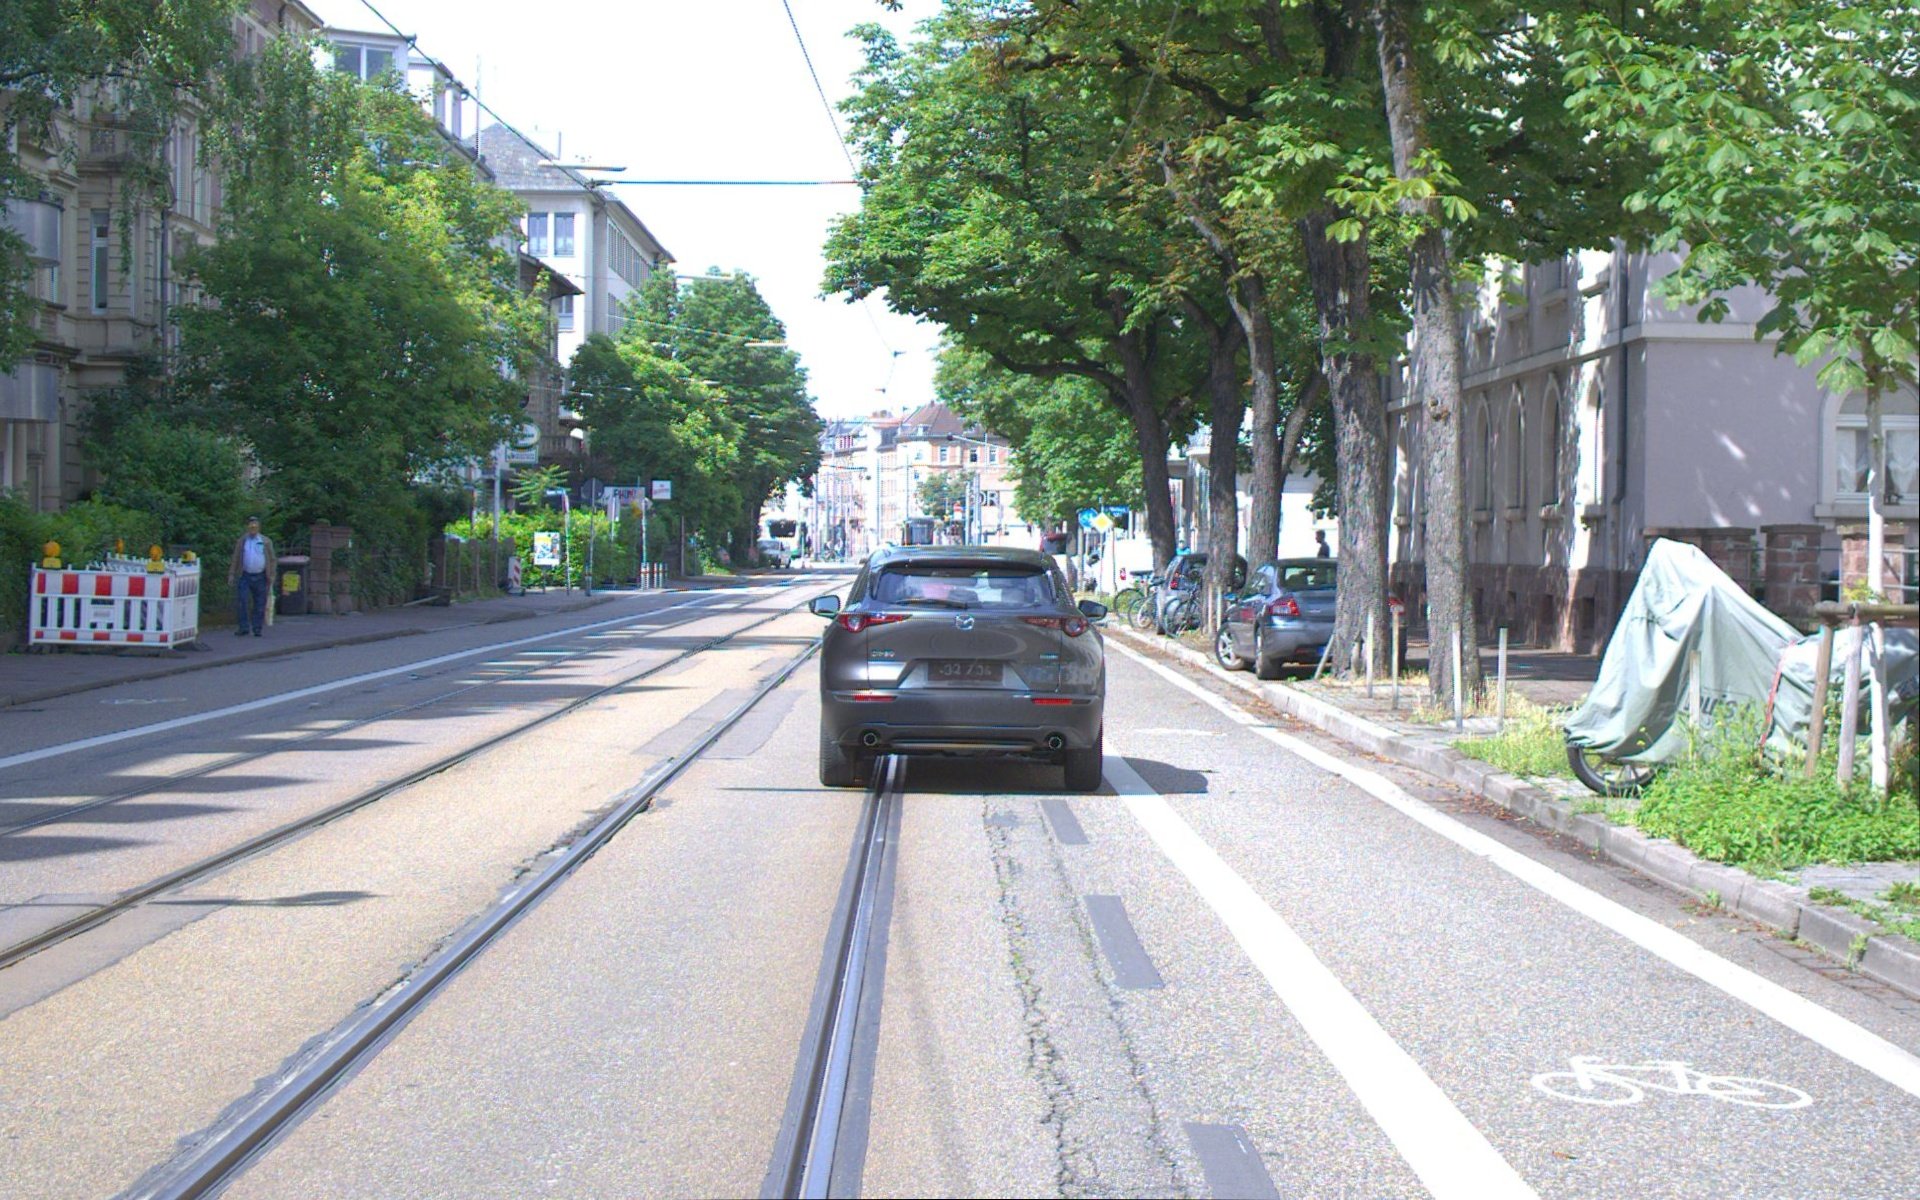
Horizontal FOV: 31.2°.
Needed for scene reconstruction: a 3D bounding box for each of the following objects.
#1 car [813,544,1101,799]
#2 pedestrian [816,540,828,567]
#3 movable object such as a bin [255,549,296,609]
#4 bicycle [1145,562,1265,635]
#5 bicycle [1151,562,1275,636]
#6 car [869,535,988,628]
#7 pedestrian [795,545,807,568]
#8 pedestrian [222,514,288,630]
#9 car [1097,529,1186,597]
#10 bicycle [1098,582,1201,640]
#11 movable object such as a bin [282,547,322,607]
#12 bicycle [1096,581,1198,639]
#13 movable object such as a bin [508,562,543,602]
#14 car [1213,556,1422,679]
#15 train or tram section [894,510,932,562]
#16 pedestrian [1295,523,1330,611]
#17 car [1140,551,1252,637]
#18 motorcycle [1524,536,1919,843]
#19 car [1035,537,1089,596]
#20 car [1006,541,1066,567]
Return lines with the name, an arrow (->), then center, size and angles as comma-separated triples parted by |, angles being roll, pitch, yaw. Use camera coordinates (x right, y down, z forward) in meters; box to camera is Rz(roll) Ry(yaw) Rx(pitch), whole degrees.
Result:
car -> -0.040, 0.401, 22.582 | 1.720, 1.521, 3.590 | 1, 1, -1
pedestrian -> -10.282, -3.463, 256.629 | 0.884, 2.007, 0.618 | 1, 1, -4
movable object such as a bin -> -12.709, -0.392, 63.857 | 0.549, 1.104, 0.789 | 1, 1, 4
bicycle -> 3.982, -0.025, 55.829 | 1.895, 1.172, 0.513 | 0, 0, 12
bicycle -> 4.063, -0.016, 55.206 | 1.938, 1.172, 0.513 | 0, 0, 12
car -> -0.570, -0.348, 61.517 | 1.993, 1.523, 4.000 | 3, 1, -1
pedestrian -> -10.730, -2.945, 232.150 | 0.751, 1.505, 0.824 | 1, 1, -5
pedestrian -> -10.491, -0.413, 51.168 | 0.822, 1.700, 0.891 | 1, 1, -3
car -> 5.339, -1.112, 101.746 | 1.786, 1.932, 4.992 | 1, 1, -7
bicycle -> 3.570, 0.206, 64.804 | 1.903, 1.068, 0.402 | 1, 1, 0
movable object such as a bin -> -12.191, -0.428, 63.691 | 0.538, 1.090, 0.789 | 1, 1, 4
bicycle -> 3.544, 0.188, 65.296 | 1.903, 1.068, 0.402 | 1, 1, 0
movable object such as a bin -> -11.394, -0.475, 90.234 | 0.745, 0.984, 1.114 | 3, 1, -1
car -> 4.342, 0.175, 42.416 | 1.846, 1.404, 4.395 | -1, 1, -3
train or tram section -> -3.456, -4.752, 255.582 | 2.571, 3.760, 13.026 | 0, 1, 0
pedestrian -> 7.417, -0.692, 72.355 | 0.610, 1.829, 0.879 | 0, -1, -2
car -> 4.113, -0.128, 60.403 | 1.666, 1.425, 3.766 | -1, 1, 0
motorcycle -> 4.506, 0.476, 19.817 | 2.385, 1.592, 0.677 | 4, 2, 38
car -> 3.510, -1.165, 118.406 | 1.720, 1.962, 4.207 | 1, 1, 0
car -> 5.381, -3.278, 243.472 | 3.805, 1.612, 1.638 | 3, 1, -18
